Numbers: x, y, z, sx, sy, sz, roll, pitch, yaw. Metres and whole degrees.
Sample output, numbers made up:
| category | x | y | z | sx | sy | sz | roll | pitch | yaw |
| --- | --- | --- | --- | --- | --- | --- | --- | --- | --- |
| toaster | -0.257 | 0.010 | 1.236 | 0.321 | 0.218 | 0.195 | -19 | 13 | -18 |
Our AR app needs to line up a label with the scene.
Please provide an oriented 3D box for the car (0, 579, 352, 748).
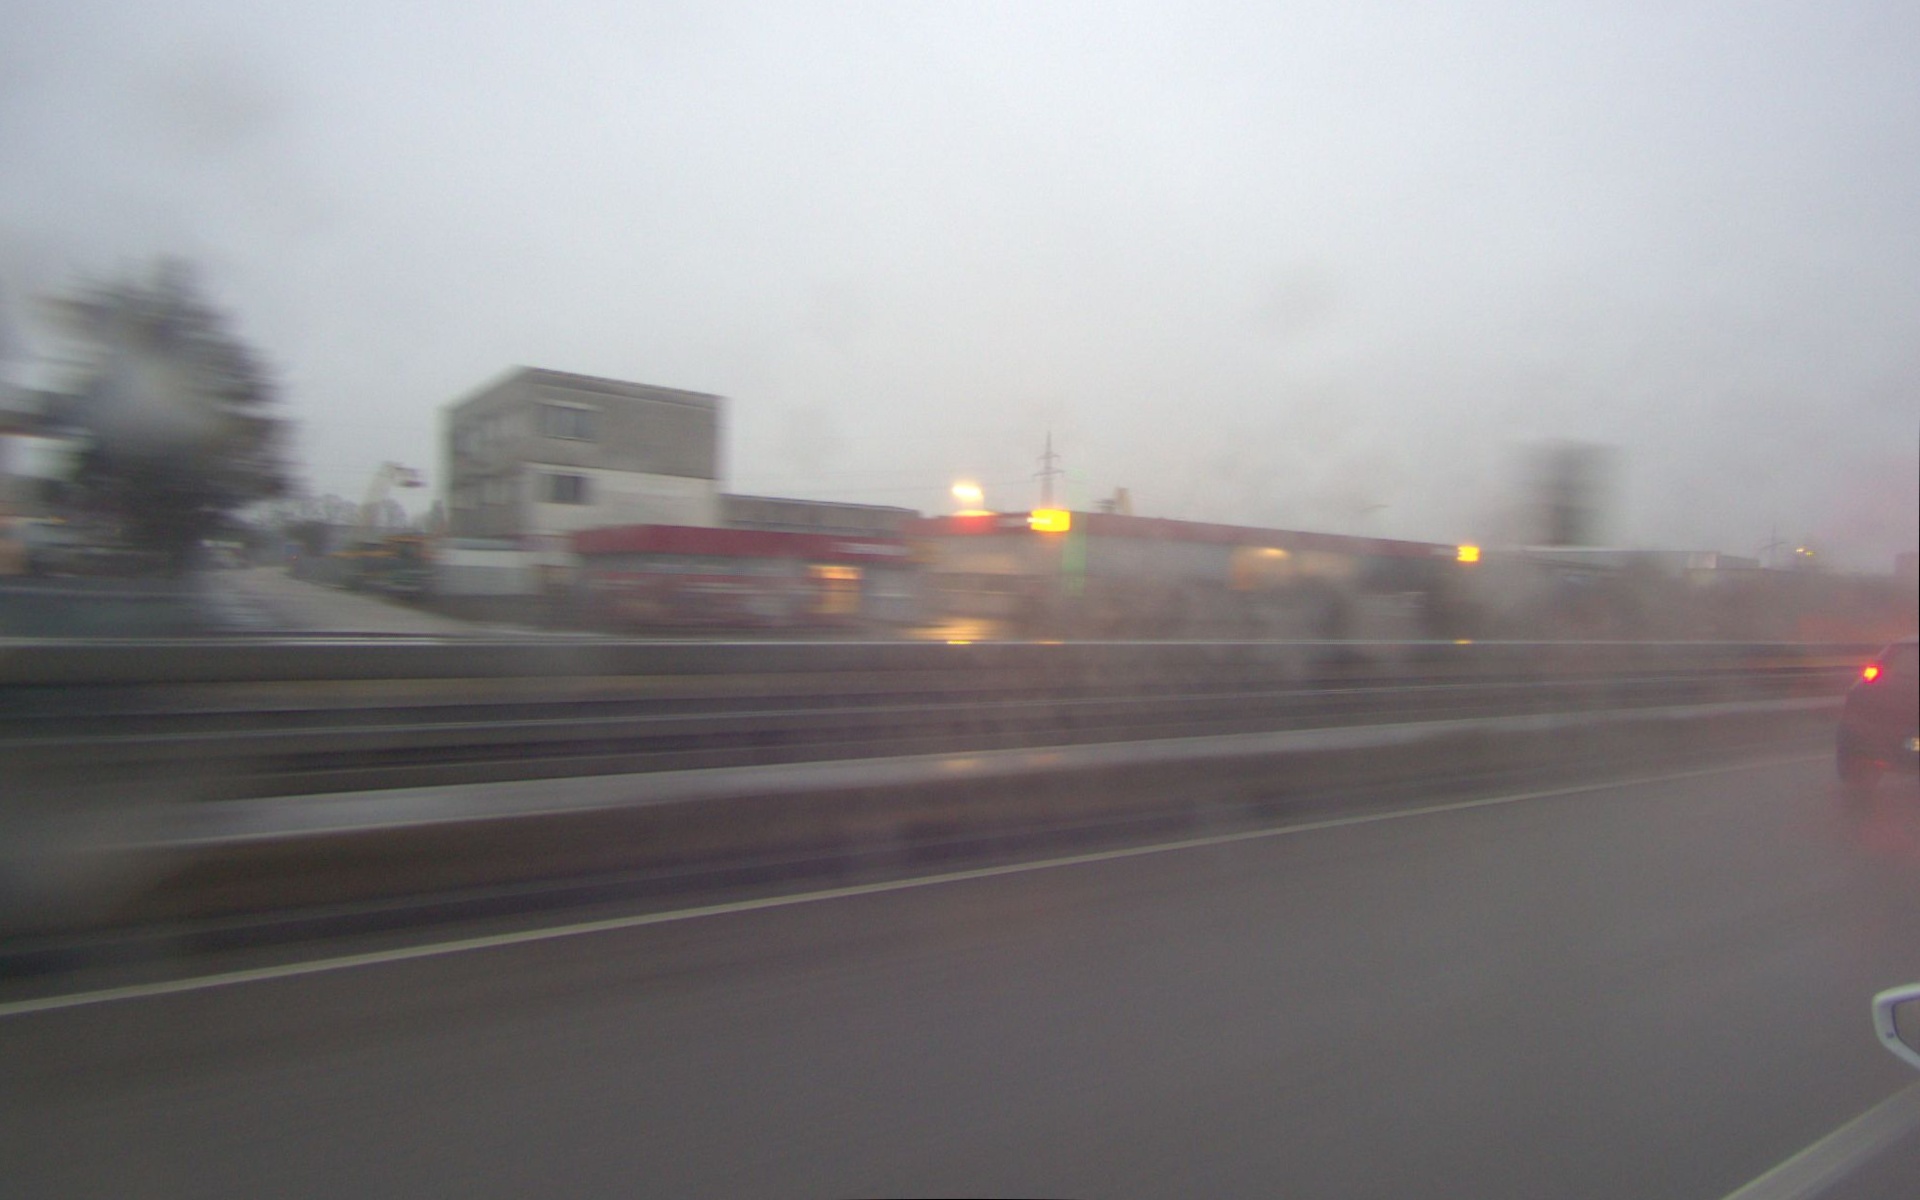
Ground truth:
| category | x | y | z | sx | sy | sz | roll | pitch | yaw |
| --- | --- | --- | --- | --- | --- | --- | --- | --- | --- |
| car | -8.611 | 0.593 | 10.336 | 3.953 | 1.528 | 1.728 | 2 | 1 | -30 |

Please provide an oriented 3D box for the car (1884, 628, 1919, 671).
| category | x | y | z | sx | sy | sz | roll | pitch | yaw |
| --- | --- | --- | --- | --- | --- | --- | --- | --- | --- |
| car | 37.243 | 1.906 | 38.392 | 3.953 | 1.528 | 1.728 | 1 | 1 | -30 |

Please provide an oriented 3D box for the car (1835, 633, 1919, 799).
| category | x | y | z | sx | sy | sz | roll | pitch | yaw |
| --- | --- | --- | --- | --- | --- | --- | --- | --- | --- |
| car | 10.175 | 1.085 | 9.597 | 3.956 | 1.410 | 1.616 | 2 | 1 | -32 |
